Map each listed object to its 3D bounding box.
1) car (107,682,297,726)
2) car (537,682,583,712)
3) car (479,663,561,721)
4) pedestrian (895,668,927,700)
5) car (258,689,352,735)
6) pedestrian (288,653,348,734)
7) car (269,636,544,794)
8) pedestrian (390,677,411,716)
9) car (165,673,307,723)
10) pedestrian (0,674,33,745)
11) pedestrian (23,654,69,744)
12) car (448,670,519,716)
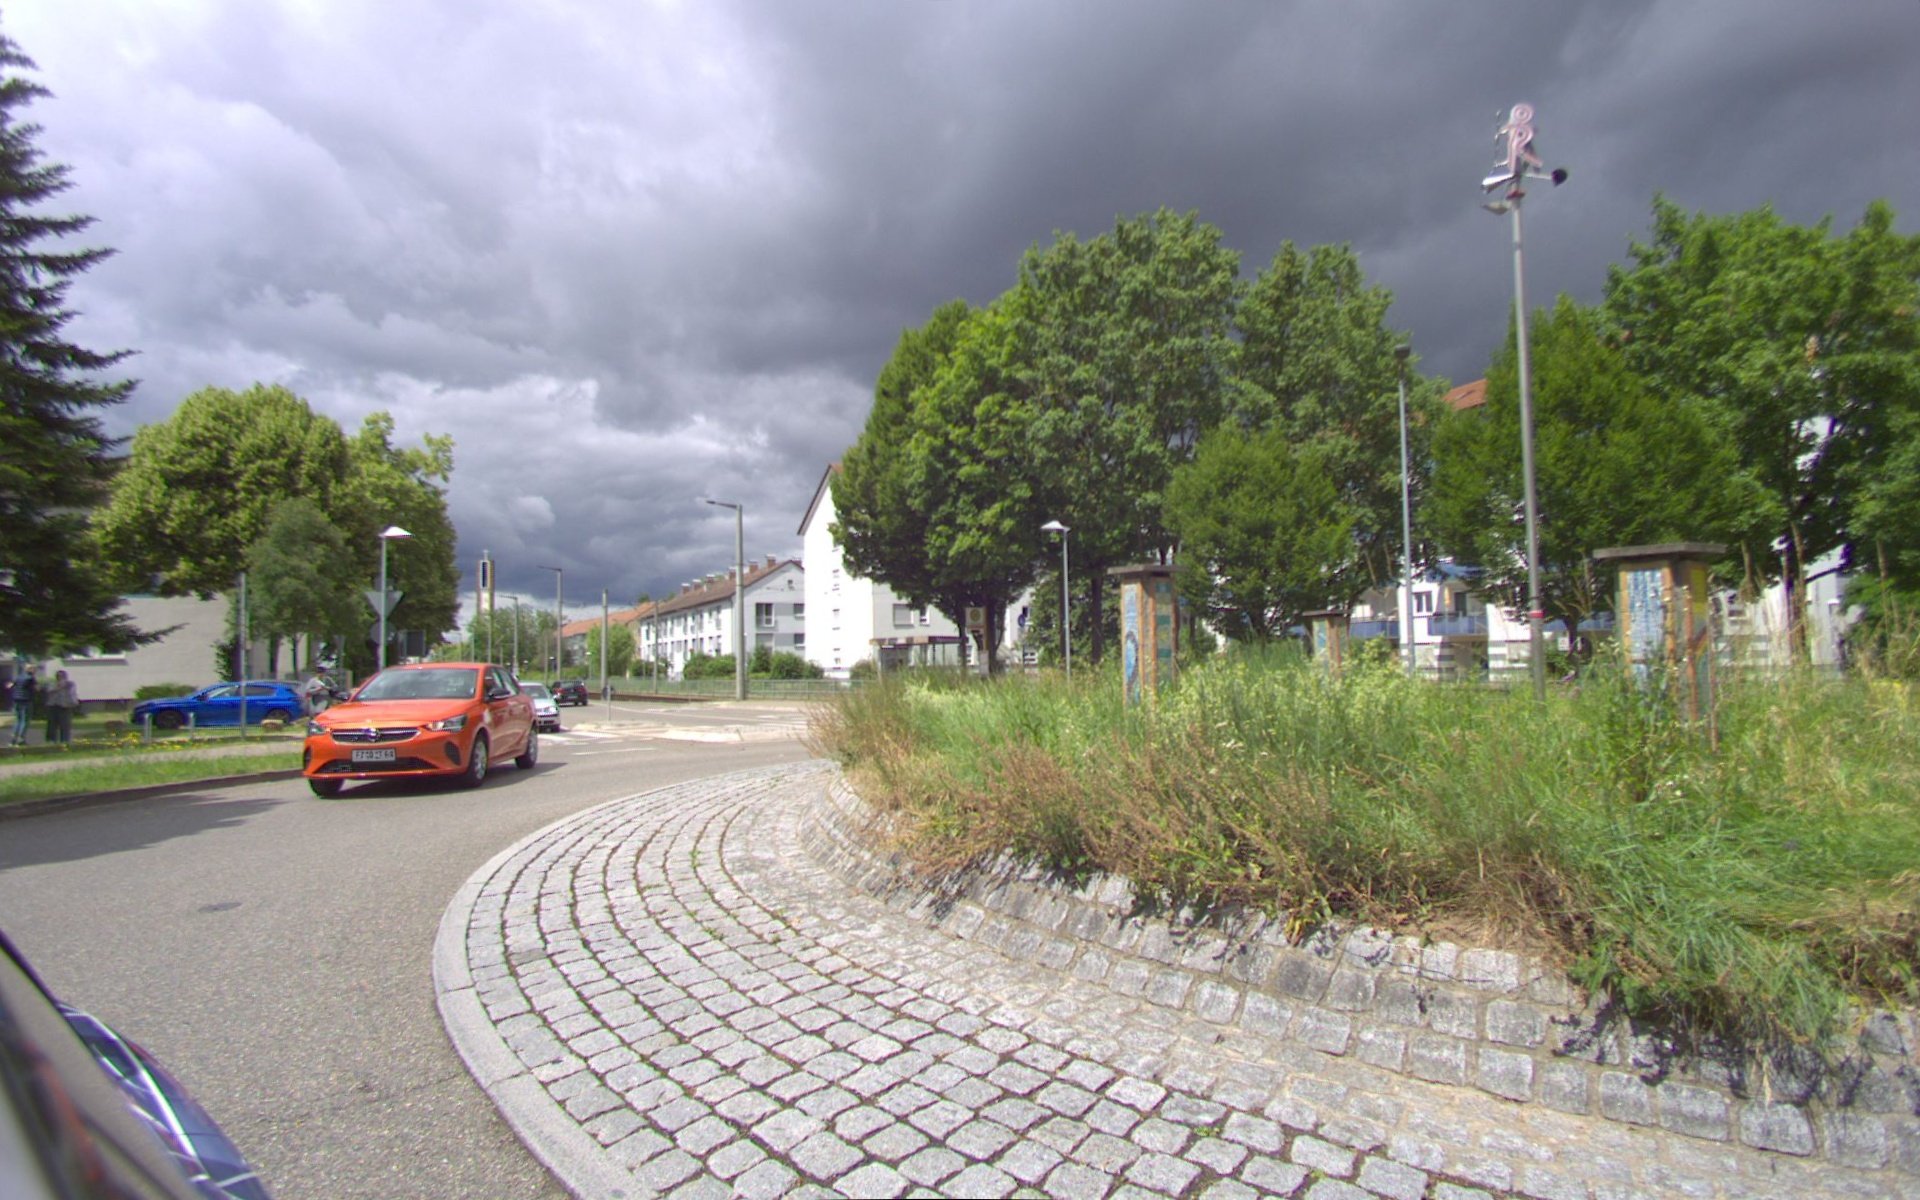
[{"bbox_3d":[-22.953,3.175,30.749,4.425,1.253,2.003,6,-7,-39],"label":"car"},{"bbox_3d":[-21.869,5.241,55.175,1.827,1.466,4.401,-1,-4,-28],"label":"car"},{"bbox_3d":[-11.828,2.419,27.096,1.734,1.408,4.012,2,-5,-27],"label":"car"},{"bbox_3d":[-1.839,3.138,37.980,0.787,1.144,0.914,0,-4,-34],"label":"pedestrian"},{"bbox_3d":[-21.622,3.670,33.561,1.886,1.327,4.012,1,-4,-22],"label":"car"},{"bbox_3d":[-16.030,2.323,25.271,0.839,1.971,0.933,-3,-5,29],"label":"pedestrian"},{"bbox_3d":[-6.402,1.297,12.246,1.738,1.570,4.008,0,-4,-11],"label":"car"},{"bbox_3d":[-24.587,4.217,44.495,0.673,1.673,0.833,3,-5,-35],"label":"pedestrian"},{"bbox_3d":[-24.208,3.293,33.903,3.680,1.569,2.036,5,-7,-37],"label":"car"},{"bbox_3d":[-21.128,2.415,22.445,0.732,1.541,0.692,3,-5,-38],"label":"pedestrian"},{"bbox_3d":[-21.058,2.265,23.337,0.645,2.029,1.048,3,-6,-39],"label":"pedestrian"},{"bbox_3d":[-18.377,3.545,38.928,1.966,1.620,4.011,2,-5,-32],"label":"car"}]
